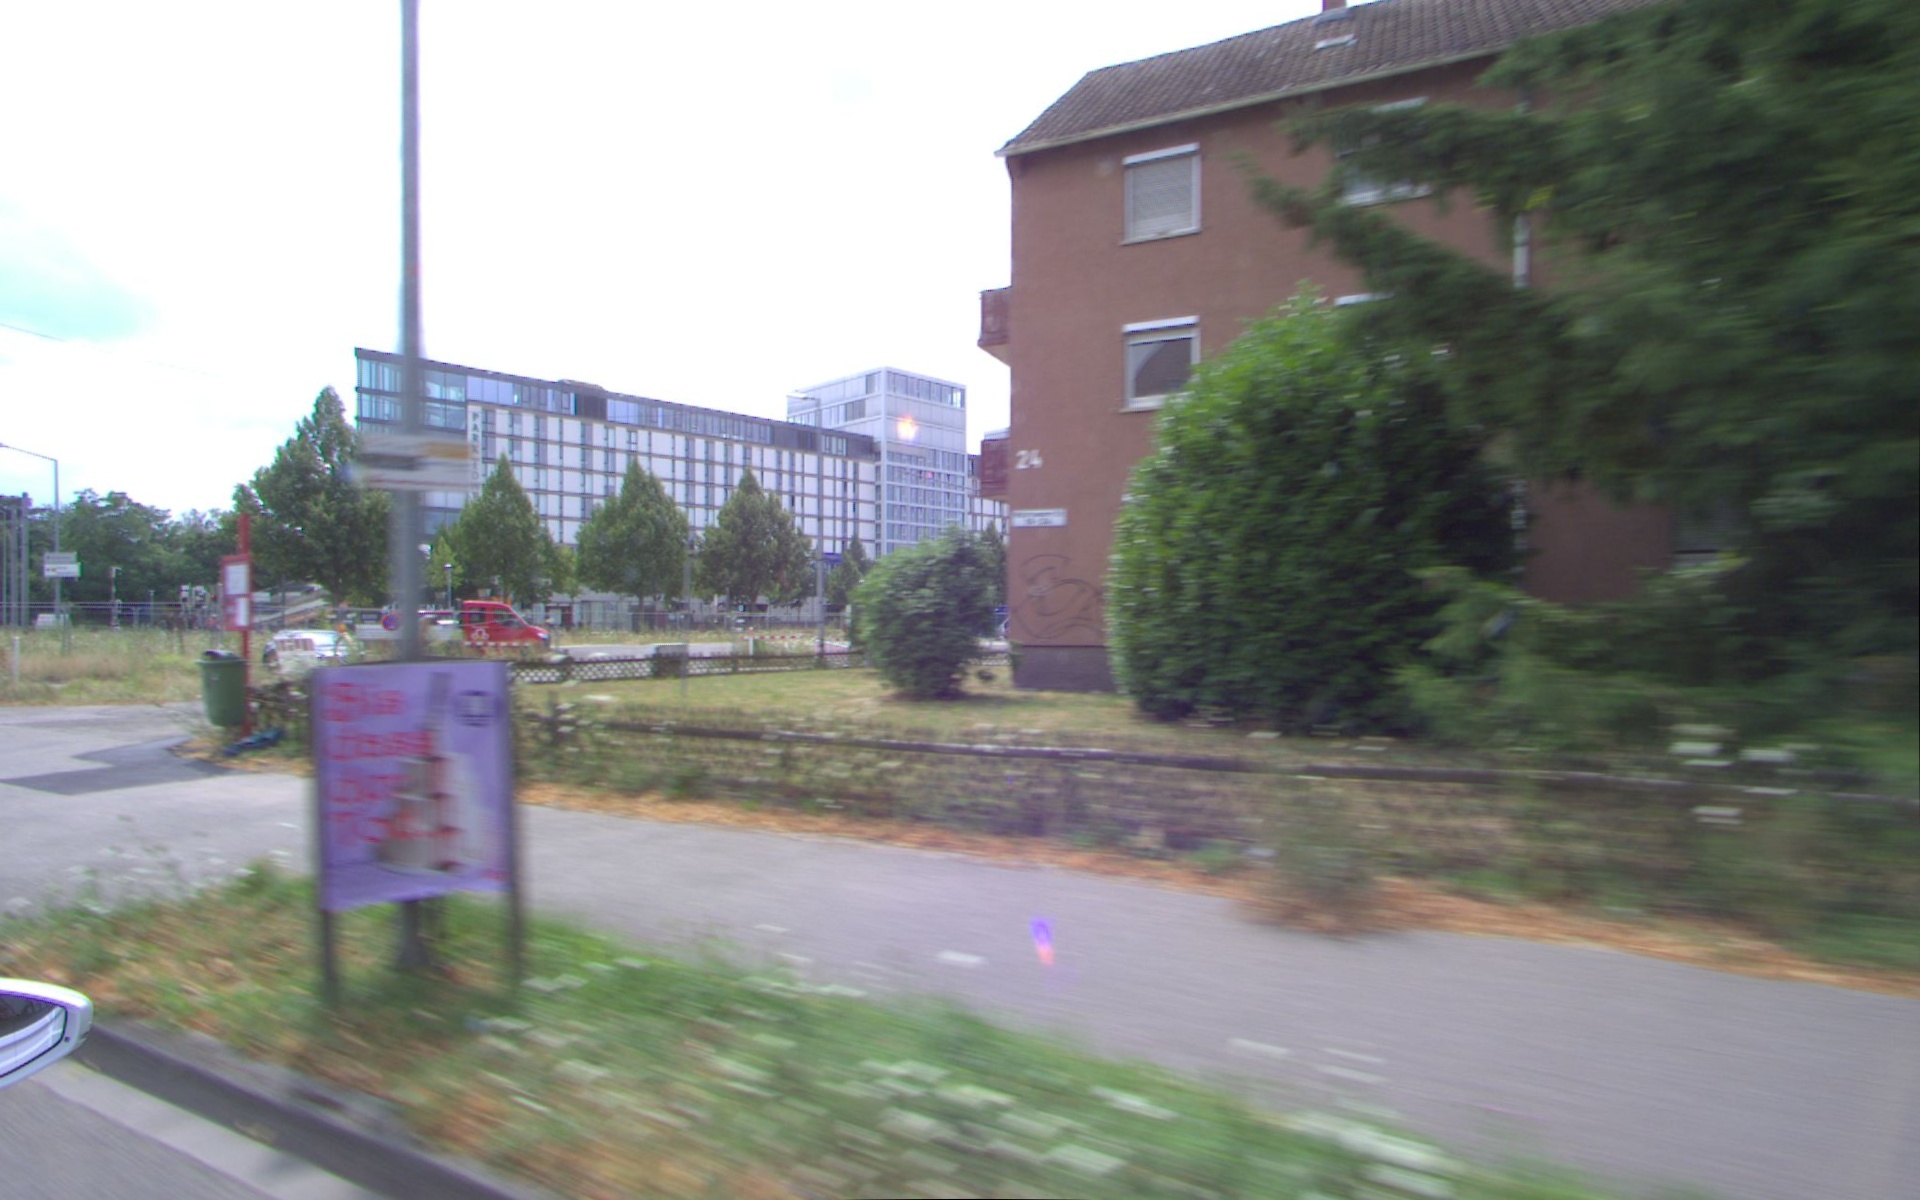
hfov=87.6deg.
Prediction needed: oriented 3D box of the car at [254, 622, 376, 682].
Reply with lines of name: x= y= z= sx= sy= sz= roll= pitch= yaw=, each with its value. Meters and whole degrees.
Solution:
car: x=-19.260 y=1.493 z=29.853 sx=4.283 sy=1.517 sz=1.843 roll=1 pitch=1 yaw=40

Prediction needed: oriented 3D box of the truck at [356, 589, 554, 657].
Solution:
truck: x=-19.475 y=0.914 z=38.762 sx=6.594 sy=2.457 sz=2.518 roll=2 pitch=-1 yaw=-33
